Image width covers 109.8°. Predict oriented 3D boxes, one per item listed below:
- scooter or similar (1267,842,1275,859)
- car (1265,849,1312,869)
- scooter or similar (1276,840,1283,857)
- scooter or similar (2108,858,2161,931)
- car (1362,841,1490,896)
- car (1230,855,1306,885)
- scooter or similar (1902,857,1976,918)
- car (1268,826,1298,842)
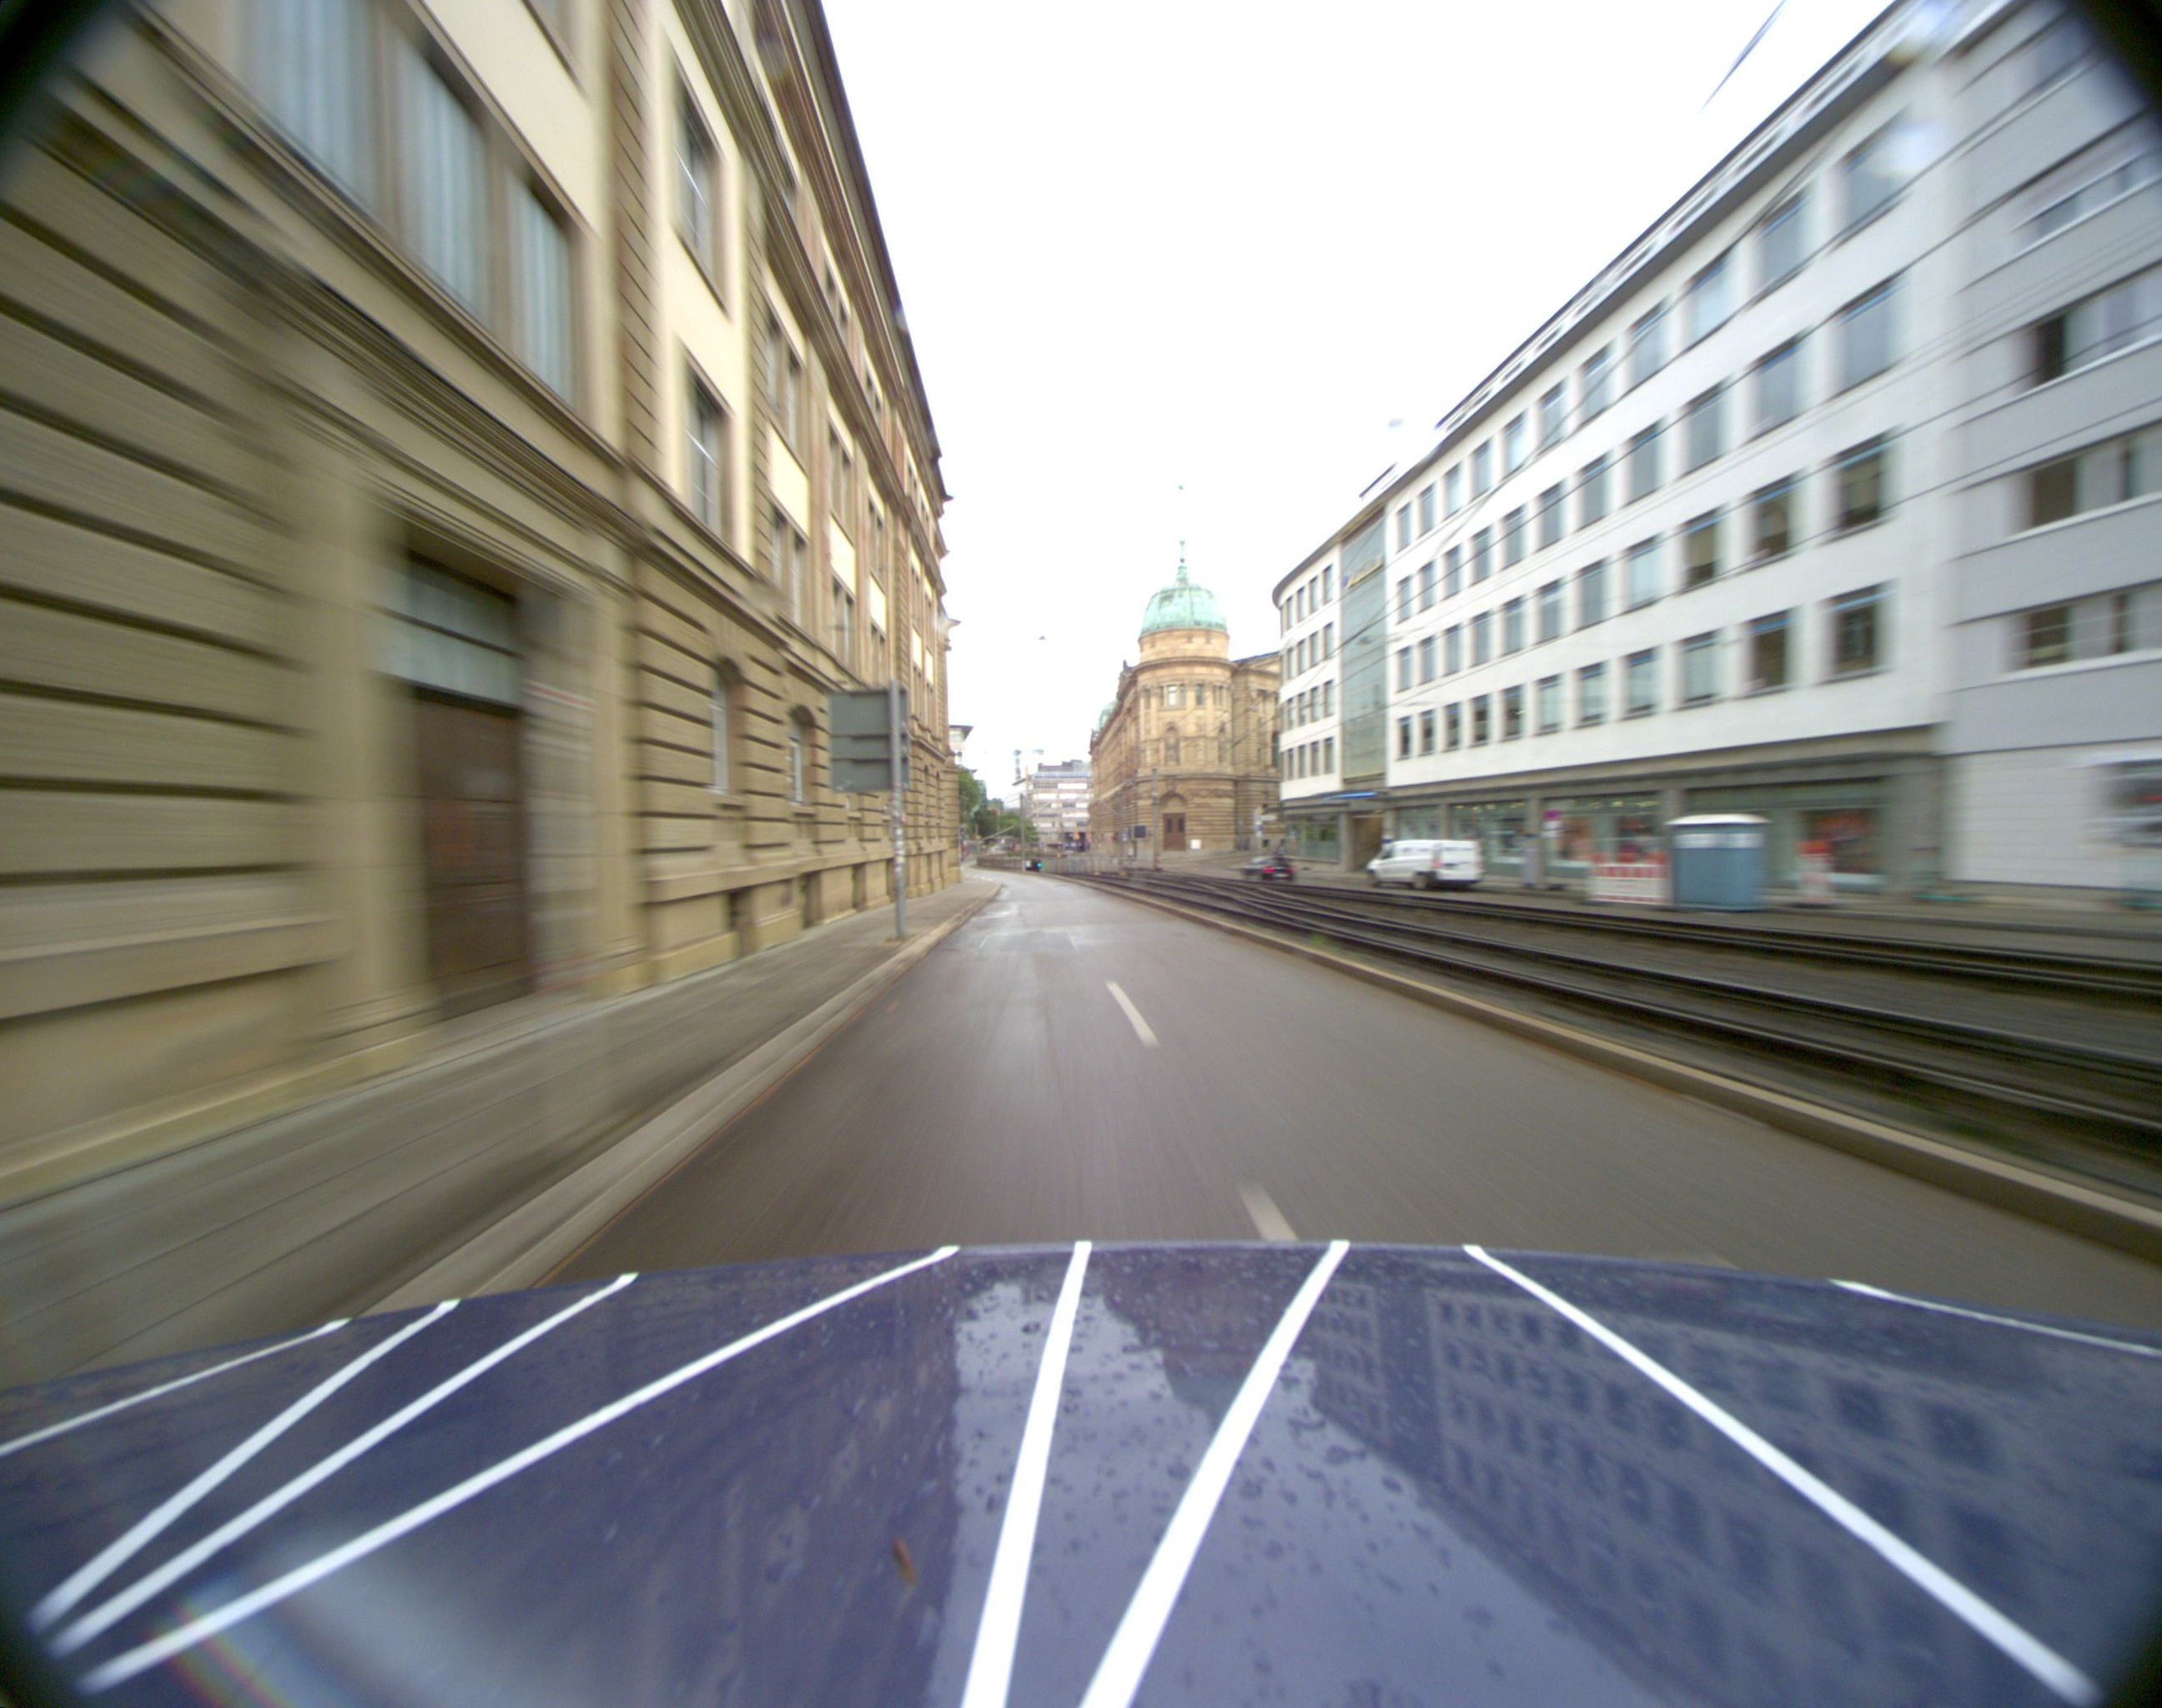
[{"bbox_3d":[14.307,-0.264,57.204,0.410,1.194,1.561,-2,2,10],"label":"scooter or similar"},{"bbox_3d":[16.866,0.385,61.583,1.780,1.390,4.334,-1,2,45],"label":"car"},{"bbox_3d":[14.881,-0.413,57.037,0.410,1.194,1.561,-2,2,17],"label":"scooter or similar"},{"bbox_3d":[18.307,0.679,12.894,0.382,1.196,0.973,-3,2,-7],"label":"scooter or similar"},{"bbox_3d":[13.050,0.467,29.177,2.000,1.832,5.126,-3,2,-8],"label":"car"},{"bbox_3d":[8.997,0.743,36.998,2.000,1.248,4.691,0,1,-8],"label":"car"},{"bbox_3d":[17.924,0.678,15.895,0.382,1.196,0.973,-3,2,-7],"label":"scooter or similar"},{"bbox_3d":[22.061,-2.226,83.243,1.999,1.631,3.998,-3,2,-3],"label":"car"}]
